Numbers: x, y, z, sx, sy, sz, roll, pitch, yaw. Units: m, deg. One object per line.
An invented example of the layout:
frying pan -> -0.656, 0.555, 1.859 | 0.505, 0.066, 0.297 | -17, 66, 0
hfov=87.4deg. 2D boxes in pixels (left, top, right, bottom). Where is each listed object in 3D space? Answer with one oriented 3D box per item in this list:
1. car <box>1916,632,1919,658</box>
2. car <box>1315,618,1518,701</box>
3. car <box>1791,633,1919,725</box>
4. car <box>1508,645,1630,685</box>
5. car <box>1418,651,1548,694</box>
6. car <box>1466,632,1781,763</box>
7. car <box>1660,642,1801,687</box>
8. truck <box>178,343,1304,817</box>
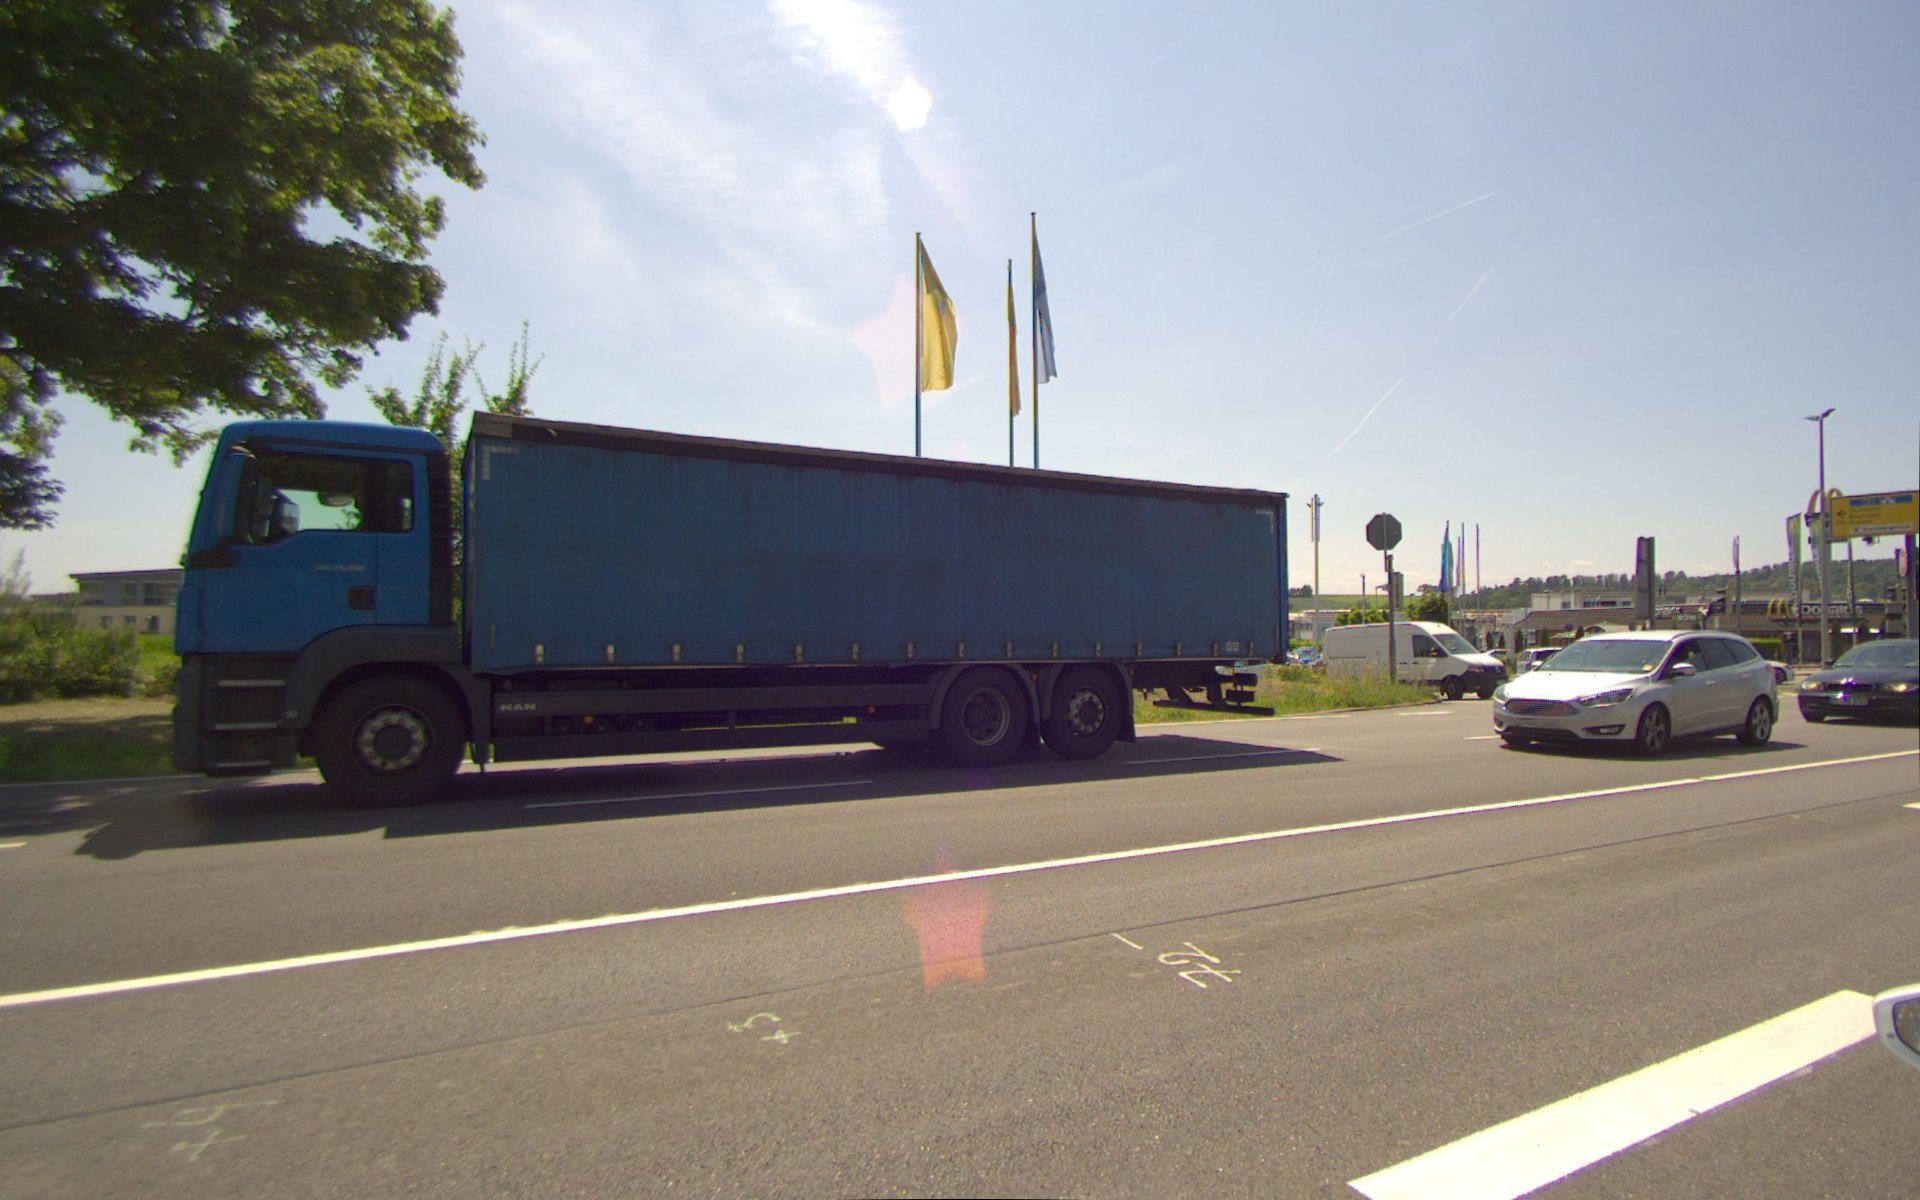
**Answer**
car -> 77.980, 3.556, 78.761 | 3.919, 2.040, 1.945 | 0, -1, 7
car -> 15.057, 1.893, 33.531 | 2.173, 2.520, 5.953 | 1, -2, -34
car -> 16.233, 1.300, 17.399 | 3.972, 1.422, 1.653 | 1, -2, -32
car -> 26.199, 2.762, 43.335 | 4.112, 1.622, 1.751 | 0, -2, 11
car -> 21.091, 2.896, 40.666 | 4.321, 1.622, 1.751 | 0, -2, 11
car -> 8.639, 1.158, 13.006 | 4.215, 1.445, 1.780 | 2, -3, -31
car -> 29.897, 2.492, 39.110 | 3.932, 1.500, 1.791 | 2, -1, 13
truck -> -1.268, 0.030, 11.207 | 11.343, 3.395, 2.834 | 2, -2, -29
